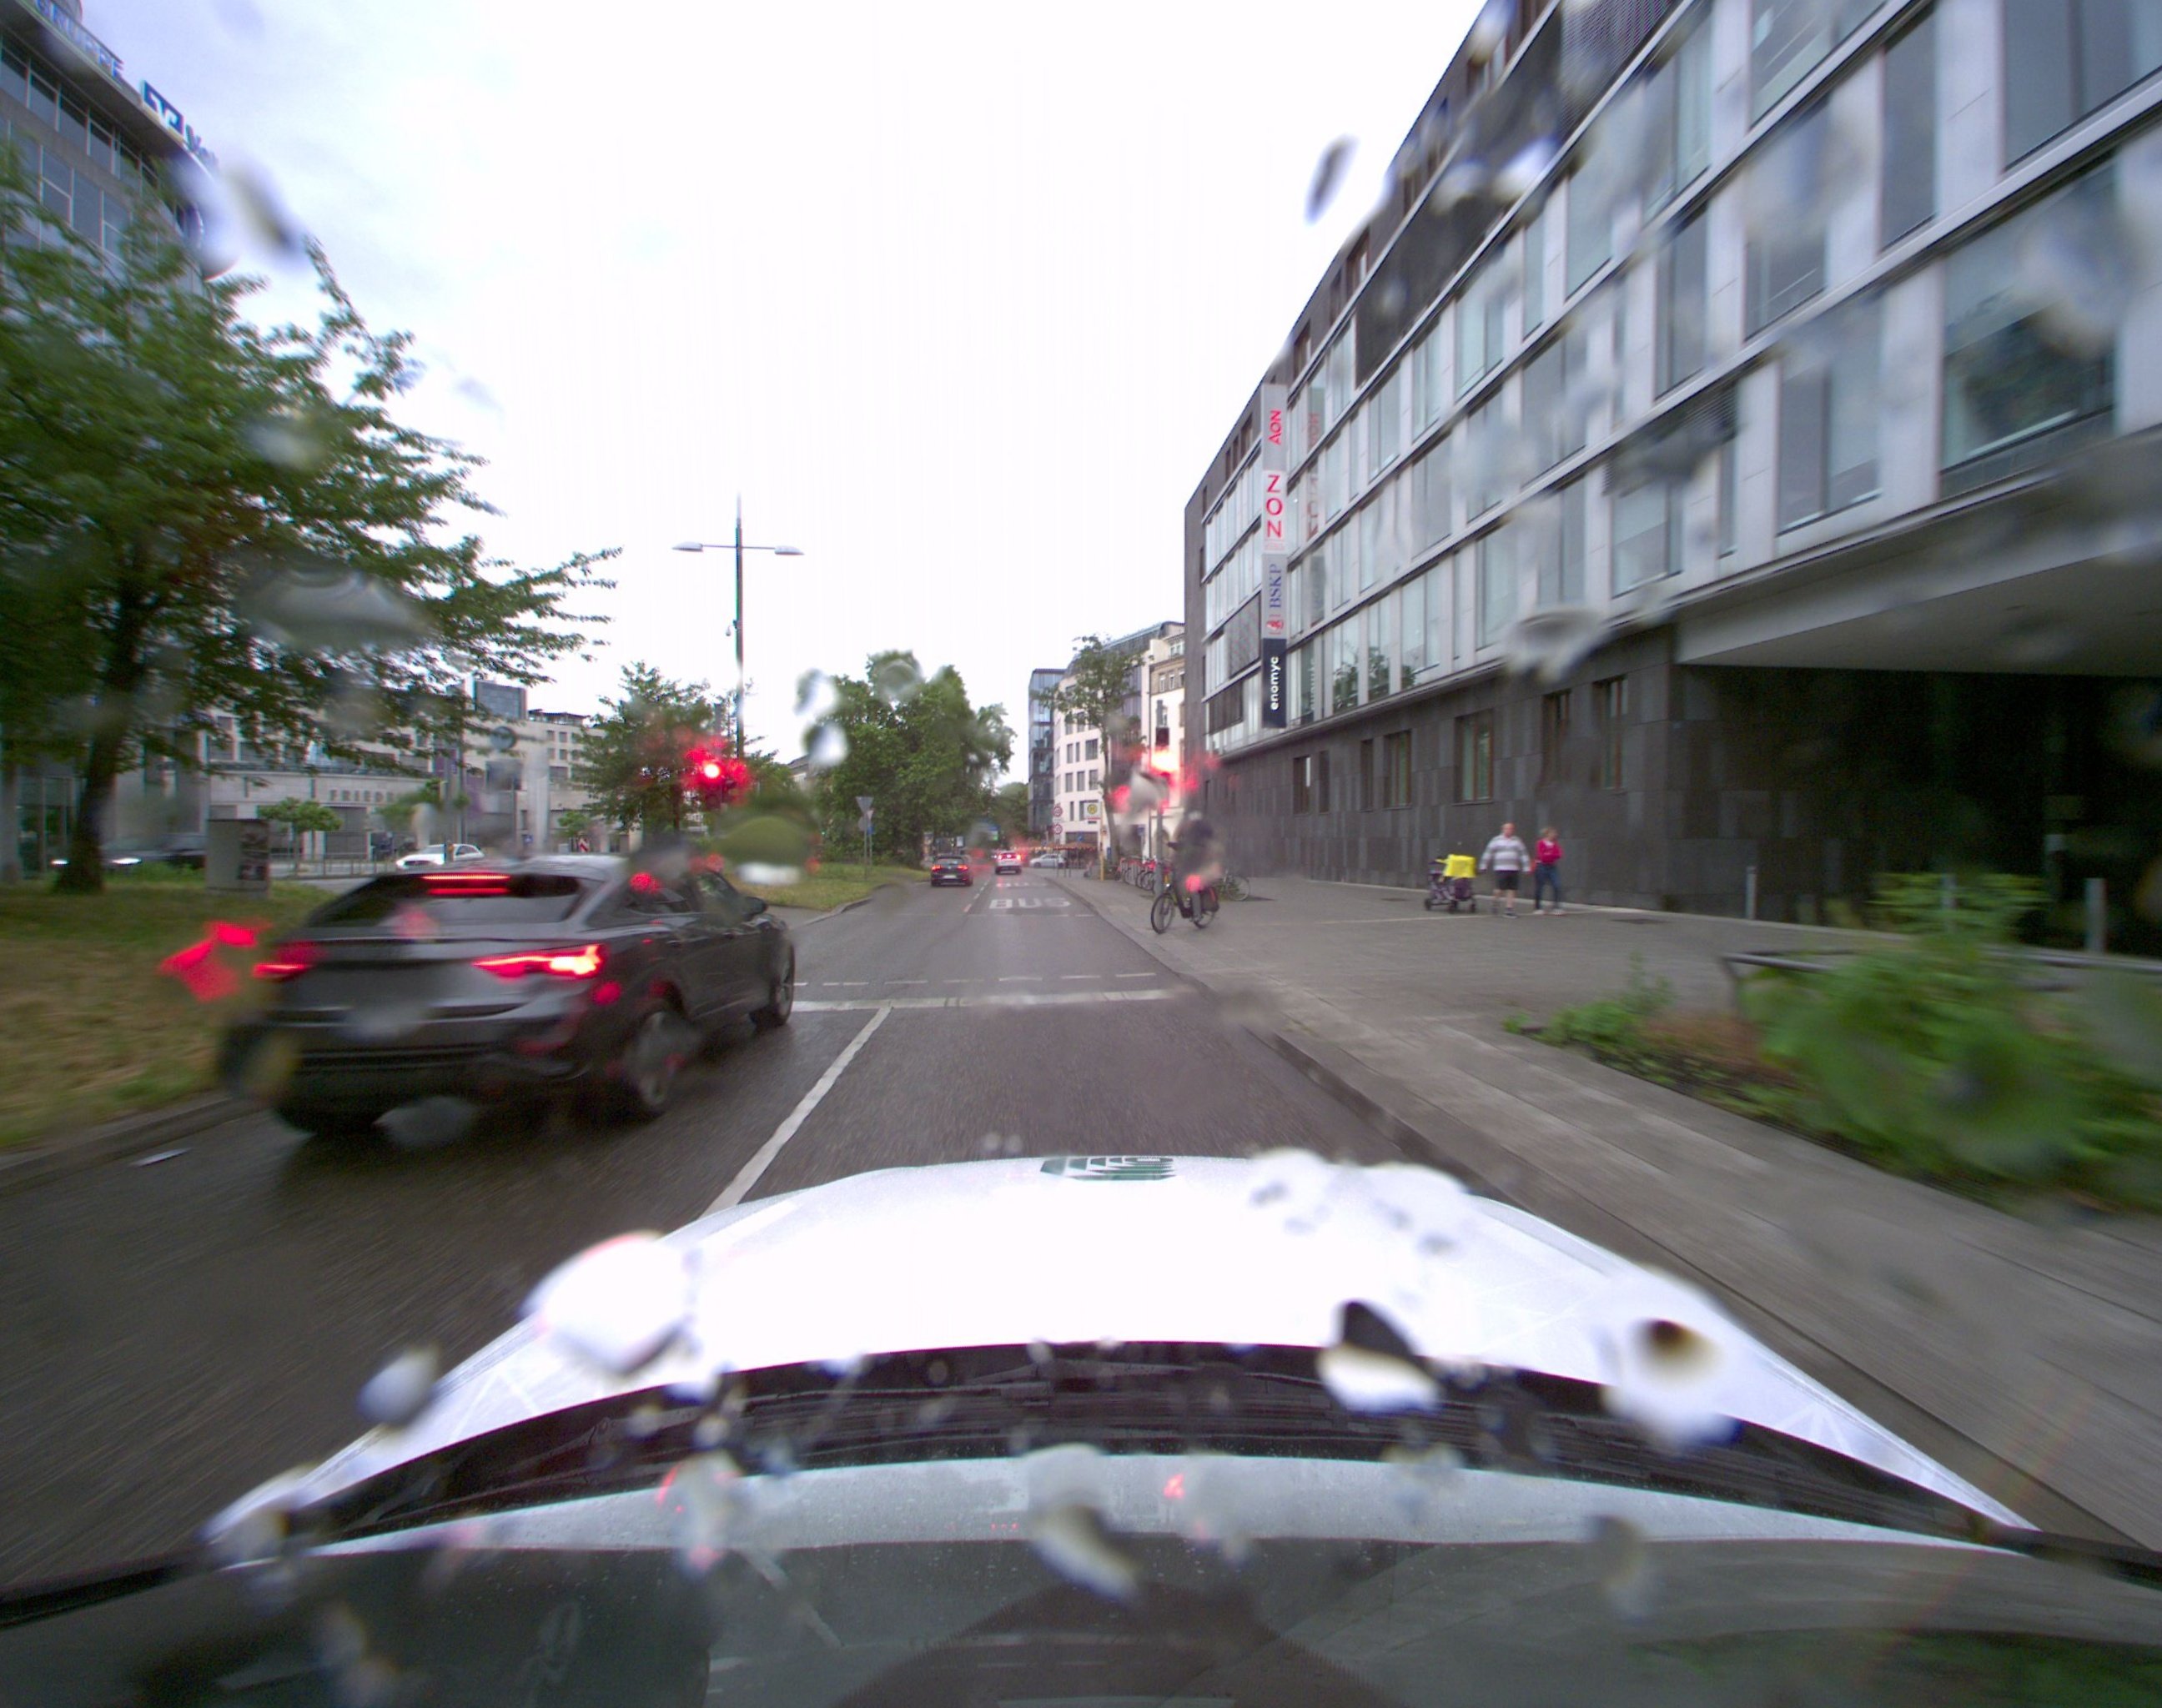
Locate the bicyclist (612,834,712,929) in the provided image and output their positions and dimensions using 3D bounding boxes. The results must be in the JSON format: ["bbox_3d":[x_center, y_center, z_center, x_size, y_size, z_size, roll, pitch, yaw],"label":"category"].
[{"bbox_3d":[-7.431,0.471,14.476,1.123,1.582,1.020,2,-1,19],"label":"bicyclist"}]

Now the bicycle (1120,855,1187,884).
[{"bbox_3d":[2.873,0.610,32.329,2.533,1.087,0.676,-1,0,-7],"label":"bicycle"}]

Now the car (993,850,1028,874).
[{"bbox_3d":[-5.230,0.539,60.046,2.180,1.700,3.985,0,0,-11],"label":"car"}]

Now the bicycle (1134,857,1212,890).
[{"bbox_3d":[3.119,0.658,27.664,2.533,1.060,0.676,-1,0,-7],"label":"bicycle"}]

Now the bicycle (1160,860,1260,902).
[{"bbox_3d":[3.411,0.707,21.637,2.533,1.057,0.676,-1,0,-7],"label":"bicycle"}]

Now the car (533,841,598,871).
[{"bbox_3d":[-30.979,0.127,49.123,1.725,1.727,4.566,0,0,-11],"label":"car"}]

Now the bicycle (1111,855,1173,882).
[{"bbox_3d":[2.590,0.622,34.676,2.533,1.087,0.626,-1,0,-7],"label":"bicycle"}]

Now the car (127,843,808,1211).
[{"bbox_3d":[-3.427,0.738,5.774,1.845,1.616,4.245,0,1,-5],"label":"car"}]

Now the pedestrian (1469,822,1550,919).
[{"bbox_3d":[8.329,0.312,15.877,0.899,1.792,1.044,-3,0,-7],"label":"pedestrian"}]

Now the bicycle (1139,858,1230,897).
[{"bbox_3d":[3.034,0.682,23.902,2.533,1.087,0.676,2,0,-7],"label":"bicycle"}]

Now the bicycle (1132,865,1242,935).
[{"bbox_3d":[1.963,0.798,14.906,2.144,1.145,0.754,-1,-1,-41],"label":"bicycle"}]

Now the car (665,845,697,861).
[{"bbox_3d":[-39.912,-0.074,81.320,1.805,1.486,4.366,2,0,-11],"label":"car"}]

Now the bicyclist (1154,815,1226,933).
[{"bbox_3d":[2.005,0.353,14.951,1.091,2.083,0.754,0,-1,-41],"label":"bicyclist"}]

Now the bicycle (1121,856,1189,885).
[{"bbox_3d":[2.862,0.626,31.577,2.533,1.087,0.676,-1,0,-7],"label":"bicycle"}]

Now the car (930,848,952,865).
[{"bbox_3d":[-13.463,0.223,78.090,1.947,1.646,3.983,0,0,-12],"label":"car"}]

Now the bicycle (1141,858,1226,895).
[{"bbox_3d":[3.153,0.682,25.133,2.533,1.087,0.676,-1,0,-7],"label":"bicycle"}]

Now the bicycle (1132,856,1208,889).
[{"bbox_3d":[3.118,0.643,28.573,2.533,1.087,0.676,-1,0,-7],"label":"bicycle"}]

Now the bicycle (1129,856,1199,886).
[{"bbox_3d":[3.129,0.625,30.748,2.533,1.087,0.676,-1,0,-7],"label":"bicycle"}]

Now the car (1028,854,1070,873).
[{"bbox_3d":[-3.203,0.929,81.464,3.980,1.647,1.997,4,0,-5],"label":"car"}]

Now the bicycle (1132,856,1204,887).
[{"bbox_3d":[3.172,0.626,29.772,2.533,1.087,0.676,-1,0,-7],"label":"bicycle"}]

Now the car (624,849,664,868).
[{"bbox_3d":[-36.115,0.347,67.389,1.806,1.486,3.983,2,0,-13],"label":"car"}]

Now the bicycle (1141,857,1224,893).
[{"bbox_3d":[3.224,0.661,25.991,2.533,1.087,0.676,-1,0,-7],"label":"bicycle"}]

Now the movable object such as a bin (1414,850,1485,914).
[{"bbox_3d":[7.847,0.568,17.392,0.730,1.264,1.442,-3,0,-5],"label":"movable object such as a bin"}]

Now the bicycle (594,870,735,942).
[{"bbox_3d":[-7.356,0.883,14.419,2.044,1.114,1.016,2,0,17],"label":"bicycle"}]

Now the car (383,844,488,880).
[{"bbox_3d":[-28.017,0.323,35.526,1.820,1.475,4.178,0,0,-11],"label":"car"}]

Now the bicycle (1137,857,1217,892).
[{"bbox_3d":[3.141,0.657,26.798,2.533,1.087,0.676,-1,0,-7],"label":"bicycle"}]

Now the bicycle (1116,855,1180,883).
[{"bbox_3d":[2.720,0.600,33.212,2.533,1.087,0.676,-1,0,-7],"label":"bicycle"}]

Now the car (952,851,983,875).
[{"bbox_3d":[-7.824,0.594,56.449,1.942,1.646,4.237,0,0,-5],"label":"car"}]

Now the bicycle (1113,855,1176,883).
[{"bbox_3d":[2.649,0.612,33.957,2.533,1.087,0.676,-1,0,-7],"label":"bicycle"}]

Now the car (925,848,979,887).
[{"bbox_3d":[-5.937,0.595,37.980,2.159,1.706,4.545,0,0,-5],"label":"car"}]

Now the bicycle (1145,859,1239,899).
[{"bbox_3d":[3.137,0.700,23.103,2.533,1.087,0.676,-1,0,-7],"label":"bicycle"}]

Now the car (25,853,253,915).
[{"bbox_3d":[-24.742,0.716,21.655,1.868,1.475,3.985,0,0,-11],"label":"car"}]

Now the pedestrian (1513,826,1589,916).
[{"bbox_3d":[9.264,0.323,16.087,0.717,1.690,1.097,-3,0,-7],"label":"pedestrian"}]
